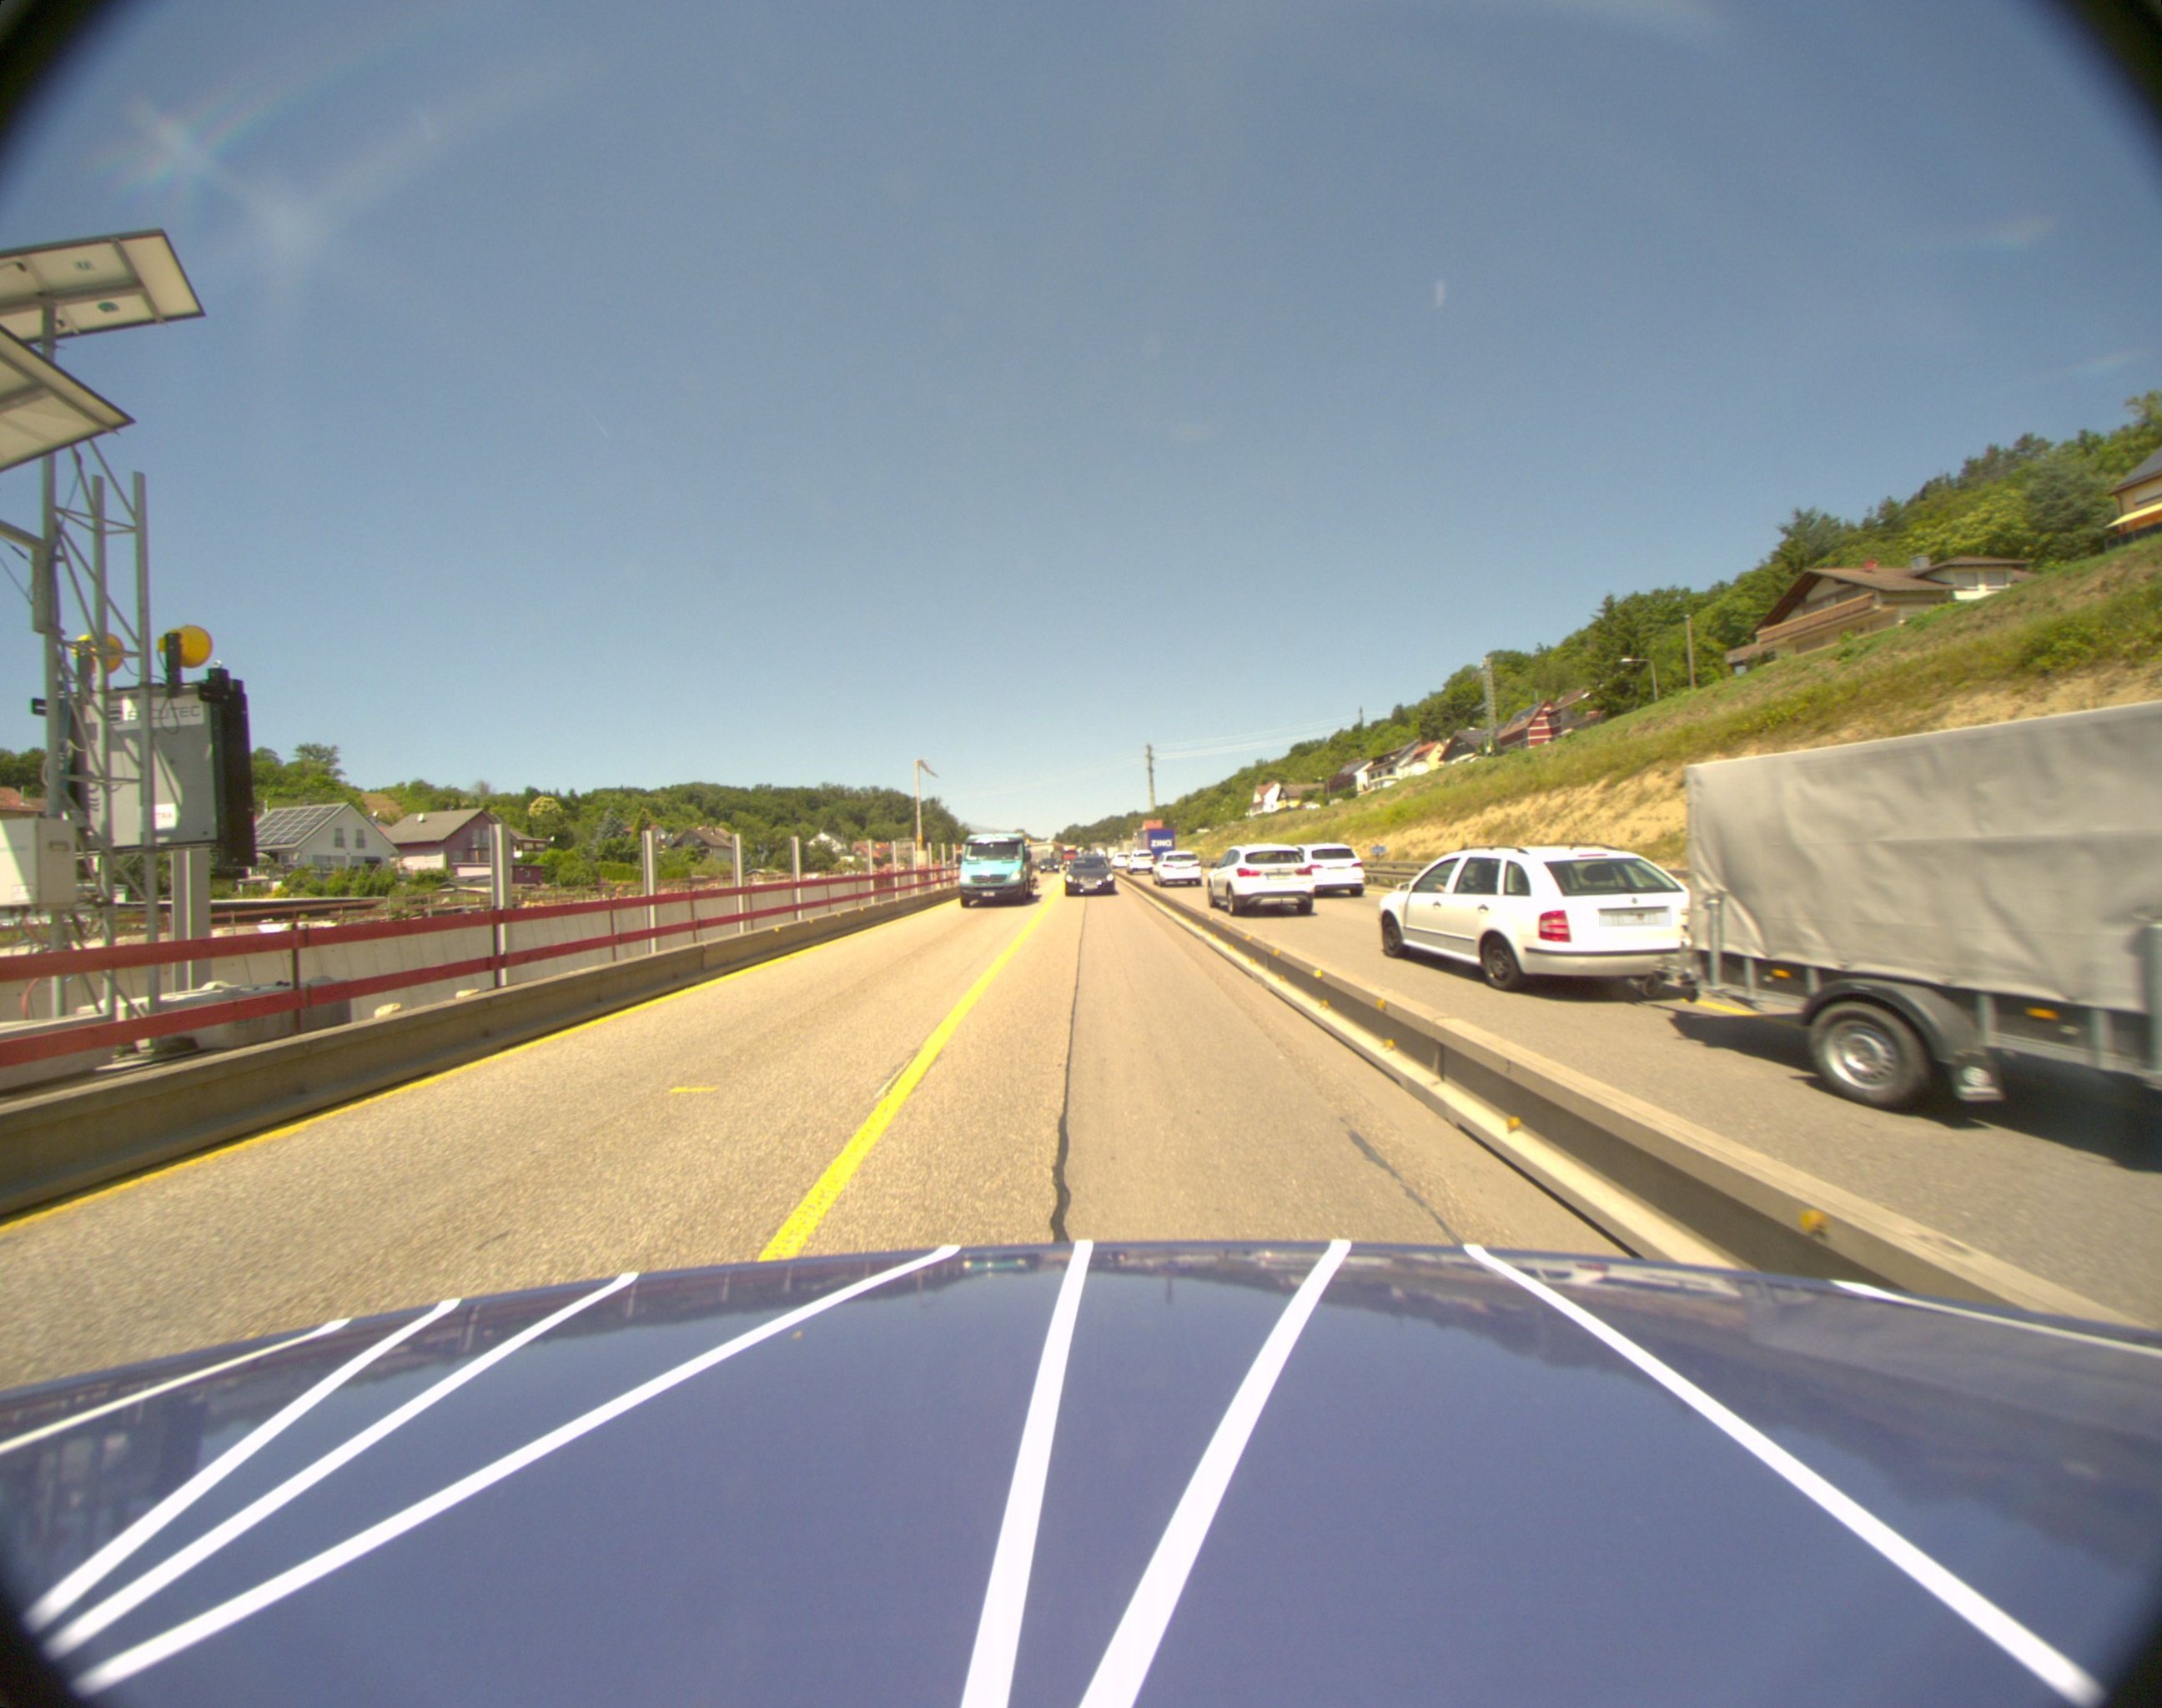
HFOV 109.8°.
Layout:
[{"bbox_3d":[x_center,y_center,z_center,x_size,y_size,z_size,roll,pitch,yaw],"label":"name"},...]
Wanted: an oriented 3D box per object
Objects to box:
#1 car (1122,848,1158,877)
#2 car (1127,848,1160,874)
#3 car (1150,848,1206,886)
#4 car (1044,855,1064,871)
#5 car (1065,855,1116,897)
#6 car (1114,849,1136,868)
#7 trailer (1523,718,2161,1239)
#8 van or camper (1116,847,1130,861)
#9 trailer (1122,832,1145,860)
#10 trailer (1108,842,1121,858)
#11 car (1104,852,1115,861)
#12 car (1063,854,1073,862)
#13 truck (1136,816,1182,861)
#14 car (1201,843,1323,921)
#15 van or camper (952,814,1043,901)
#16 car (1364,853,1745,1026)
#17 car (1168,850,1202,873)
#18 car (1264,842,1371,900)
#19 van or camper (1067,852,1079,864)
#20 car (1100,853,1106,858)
[{"bbox_3d":[3.717,0.478,48.737,1.896,1.698,4.560,-2,0,0],"label":"car"},{"bbox_3d":[4.344,0.436,53.563,1.896,1.698,4.560,-2,0,0],"label":"car"},{"bbox_3d":[4.160,0.530,33.066,1.811,1.468,4.279,-2,0,0],"label":"car"},{"bbox_3d":[-2.453,0.815,68.785,1.611,1.324,3.496,-2,0,1],"label":"car"},{"bbox_3d":[0.355,0.765,28.406,1.747,1.420,4.000,-2,0,1],"label":"car"},{"bbox_3d":[4.105,0.389,71.387,1.817,1.628,4.361,-2,0,0],"label":"car"},{"bbox_3d":[4.926,0.452,4.797,1.651,2.014,4.269,-2,1,-2],"label":"trailer"},{"bbox_3d":[8.788,0.076,158.693,2.340,2.761,7.516,-2,0,0],"label":"van or camper"},{"bbox_3d":[8.822,-1.296,129.651,2.817,4.261,14.033,-3,0,0],"label":"trailer"},{"bbox_3d":[8.885,-0.977,202.481,2.864,4.100,13.437,-2,0,0],"label":"trailer"},{"bbox_3d":[5.422,0.429,143.963,1.853,1.577,4.174,-3,0,0],"label":"car"},{"bbox_3d":[-2.360,0.662,142.199,1.679,1.346,3.486,-4,0,1],"label":"car"},{"bbox_3d":[7.969,-1.531,79.534,3.251,4.136,13.976,-2,0,0],"label":"truck"},{"bbox_3d":[4.180,0.576,18.236,1.820,1.583,4.289,-2,0,0],"label":"car"},{"bbox_3d":[-2.643,0.102,26.160,2.097,2.458,7.671,-2,0,1],"label":"van or camper"},{"bbox_3d":[4.802,0.722,8.492,1.651,1.407,3.999,-2,0,-2],"label":"car"},{"bbox_3d":[7.063,0.484,51.860,1.706,1.370,3.966,-2,0,0],"label":"car"},{"bbox_3d":[7.265,0.476,23.840,1.904,1.575,4.513,-2,0,0],"label":"car"},{"bbox_3d":[-1.728,0.826,161.604,2.321,2.513,4.527,-4,0,0],"label":"van or camper"},{"bbox_3d":[6.322,0.522,219.796,1.772,1.355,4.411,-2,0,0],"label":"car"}]
